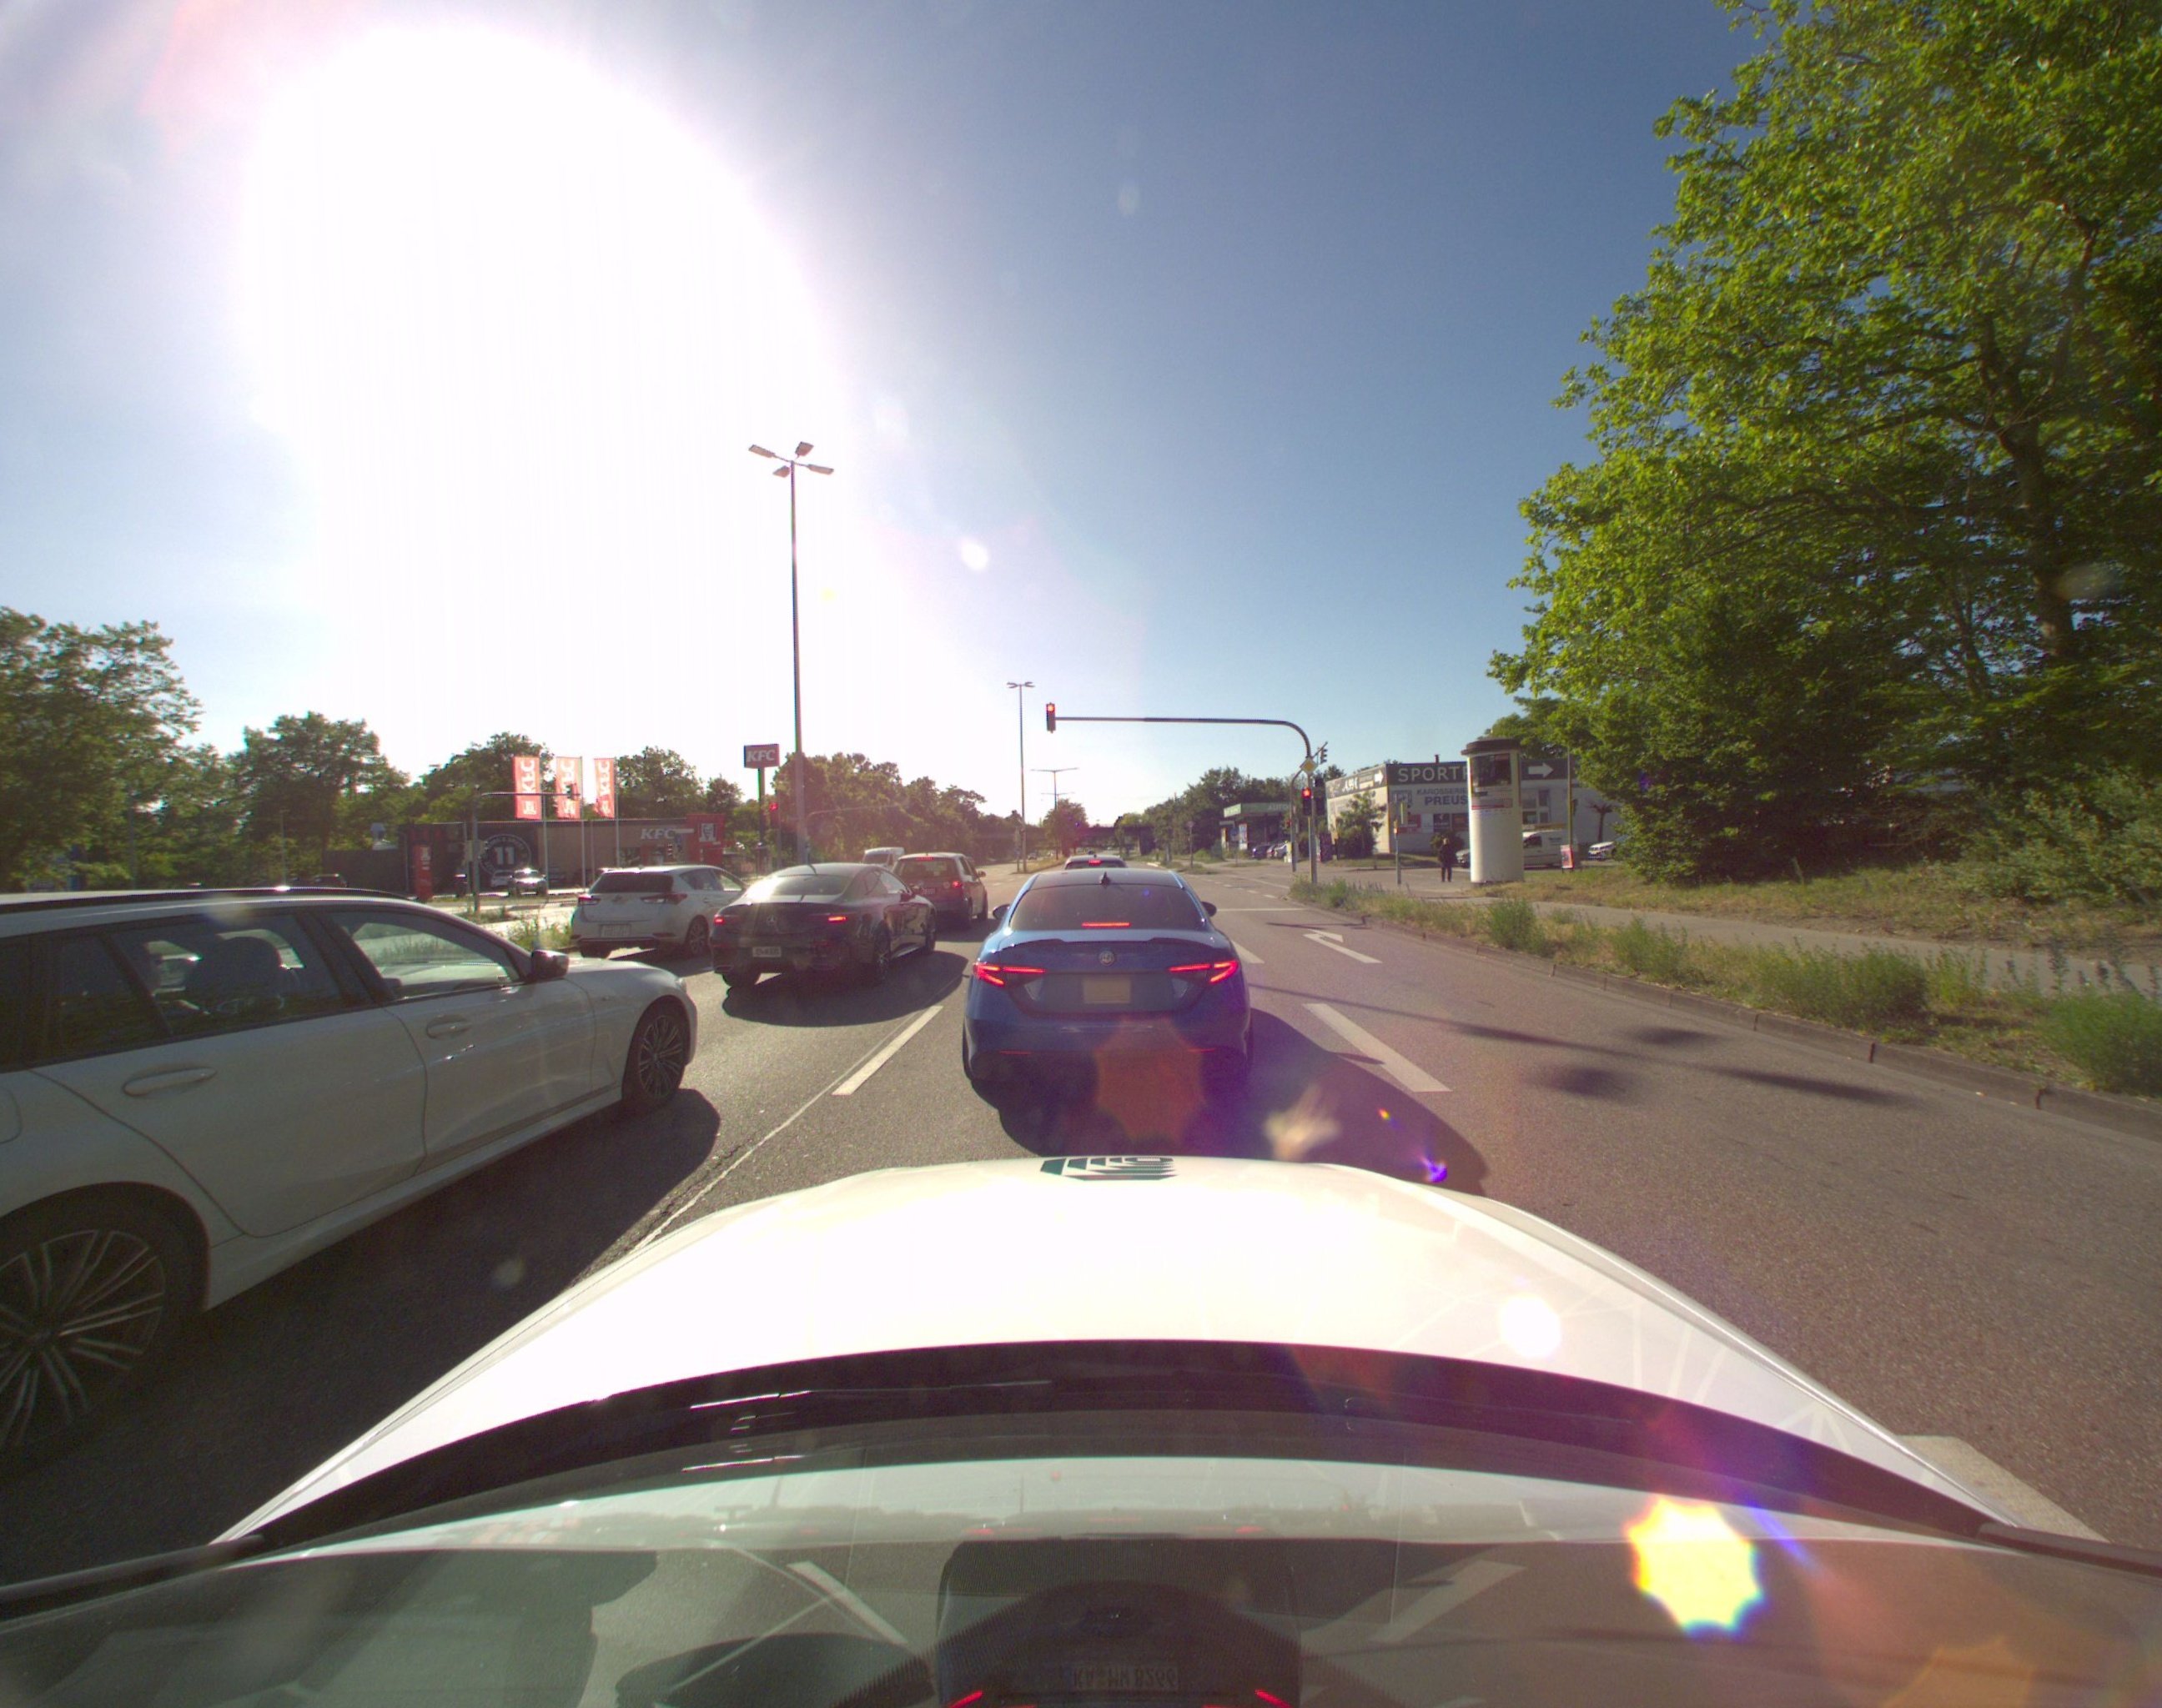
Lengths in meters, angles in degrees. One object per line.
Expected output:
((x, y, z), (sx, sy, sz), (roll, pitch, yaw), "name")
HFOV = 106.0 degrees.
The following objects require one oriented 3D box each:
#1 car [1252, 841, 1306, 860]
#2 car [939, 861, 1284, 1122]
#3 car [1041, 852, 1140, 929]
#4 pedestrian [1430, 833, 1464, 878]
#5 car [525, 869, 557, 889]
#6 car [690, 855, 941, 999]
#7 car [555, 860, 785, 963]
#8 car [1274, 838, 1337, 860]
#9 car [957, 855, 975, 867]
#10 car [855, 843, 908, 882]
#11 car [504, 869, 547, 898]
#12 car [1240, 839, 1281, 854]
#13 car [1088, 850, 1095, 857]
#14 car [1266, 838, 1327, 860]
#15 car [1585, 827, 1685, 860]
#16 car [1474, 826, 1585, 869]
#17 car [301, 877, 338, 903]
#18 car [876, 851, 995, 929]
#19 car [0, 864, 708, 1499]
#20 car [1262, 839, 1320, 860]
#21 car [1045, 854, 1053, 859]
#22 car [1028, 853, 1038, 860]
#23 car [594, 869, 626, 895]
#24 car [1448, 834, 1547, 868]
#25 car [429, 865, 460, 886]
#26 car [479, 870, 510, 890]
((17.942, -0.342, 73.880), (4.470, 1.454, 1.860), (-4, 0, 3), "car")
((0.200, 0.774, 6.690), (1.889, 1.418, 4.403), (0, -1, 1), "car")
((0.211, 0.697, 17.333), (1.844, 1.418, 4.403), (0, -1, 1), "car")
((14.222, 0.062, 31.683), (0.922, 1.735, 0.939), (0, -1, 1), "pedestrian")
((-43.149, 1.961, 65.037), (1.670, 1.471, 3.872), (0, -1, -40), "car")
((-3.177, 0.781, 10.785), (1.790, 1.490, 4.476), (0, -1, 1), "car")
((-6.743, 0.855, 13.952), (1.753, 1.490, 4.197), (0, -1, 1), "car")
((17.699, -0.413, 64.296), (4.470, 1.454, 1.860), (-4, 0, 3), "car")
((-16.001, 0.986, 113.492), (1.752, 1.490, 4.480), (-3, 0, 2), "car")
((-14.020, 0.600, 57.586), (2.015, 2.447, 5.823), (-5, 0, 1), "car")
((-37.340, 1.943, 54.838), (2.005, 1.765, 4.315), (0, -1, -29), "car")
((21.387, -0.865, 96.989), (4.532, 1.490, 1.766), (-4, 0, 3), "car")
((2.802, -0.107, 217.143), (1.884, 1.816, 4.001), (0, -1, 2), "car")
((17.705, -0.400, 67.077), (4.470, 1.454, 1.860), (-4, 0, 3), "car")
((29.038, -0.530, 42.749), (4.028, 1.490, 1.782), (-3, 0, -1), "car")
((21.631, -0.336, 39.353), (4.367, 1.801, 1.765), (-3, 1, 0), "car")
((-52.376, 2.467, 56.073), (1.670, 1.673, 3.897), (0, -1, -40), "car")
((-3.031, 0.717, 17.888), (1.753, 1.490, 4.403), (0, -1, 1), "car")
((-3.434, 0.800, 3.280), (1.779, 1.490, 4.403), (0, -1, 1), "car")
((17.982, -0.370, 69.826), (4.470, 1.454, 1.860), (-4, 0, 3), "car")
((-9.034, 0.688, 231.839), (1.752, 1.490, 4.480), (-3, 0, 2), "car")
((-10.741, 0.517, 182.217), (1.752, 1.490, 4.480), (-3, 0, 2), "car")
((-33.671, 1.938, 58.318), (1.920, 1.752, 4.315), (0, -1, -29), "car")
((21.762, -0.189, 42.687), (4.273, 1.549, 1.765), (-3, 1, 0), "car")
((-47.642, 1.568, 60.968), (1.670, 1.471, 3.872), (0, -1, -40), "car")
((-45.642, 2.029, 63.384), (1.670, 1.471, 3.872), (0, -1, -40), "car")
